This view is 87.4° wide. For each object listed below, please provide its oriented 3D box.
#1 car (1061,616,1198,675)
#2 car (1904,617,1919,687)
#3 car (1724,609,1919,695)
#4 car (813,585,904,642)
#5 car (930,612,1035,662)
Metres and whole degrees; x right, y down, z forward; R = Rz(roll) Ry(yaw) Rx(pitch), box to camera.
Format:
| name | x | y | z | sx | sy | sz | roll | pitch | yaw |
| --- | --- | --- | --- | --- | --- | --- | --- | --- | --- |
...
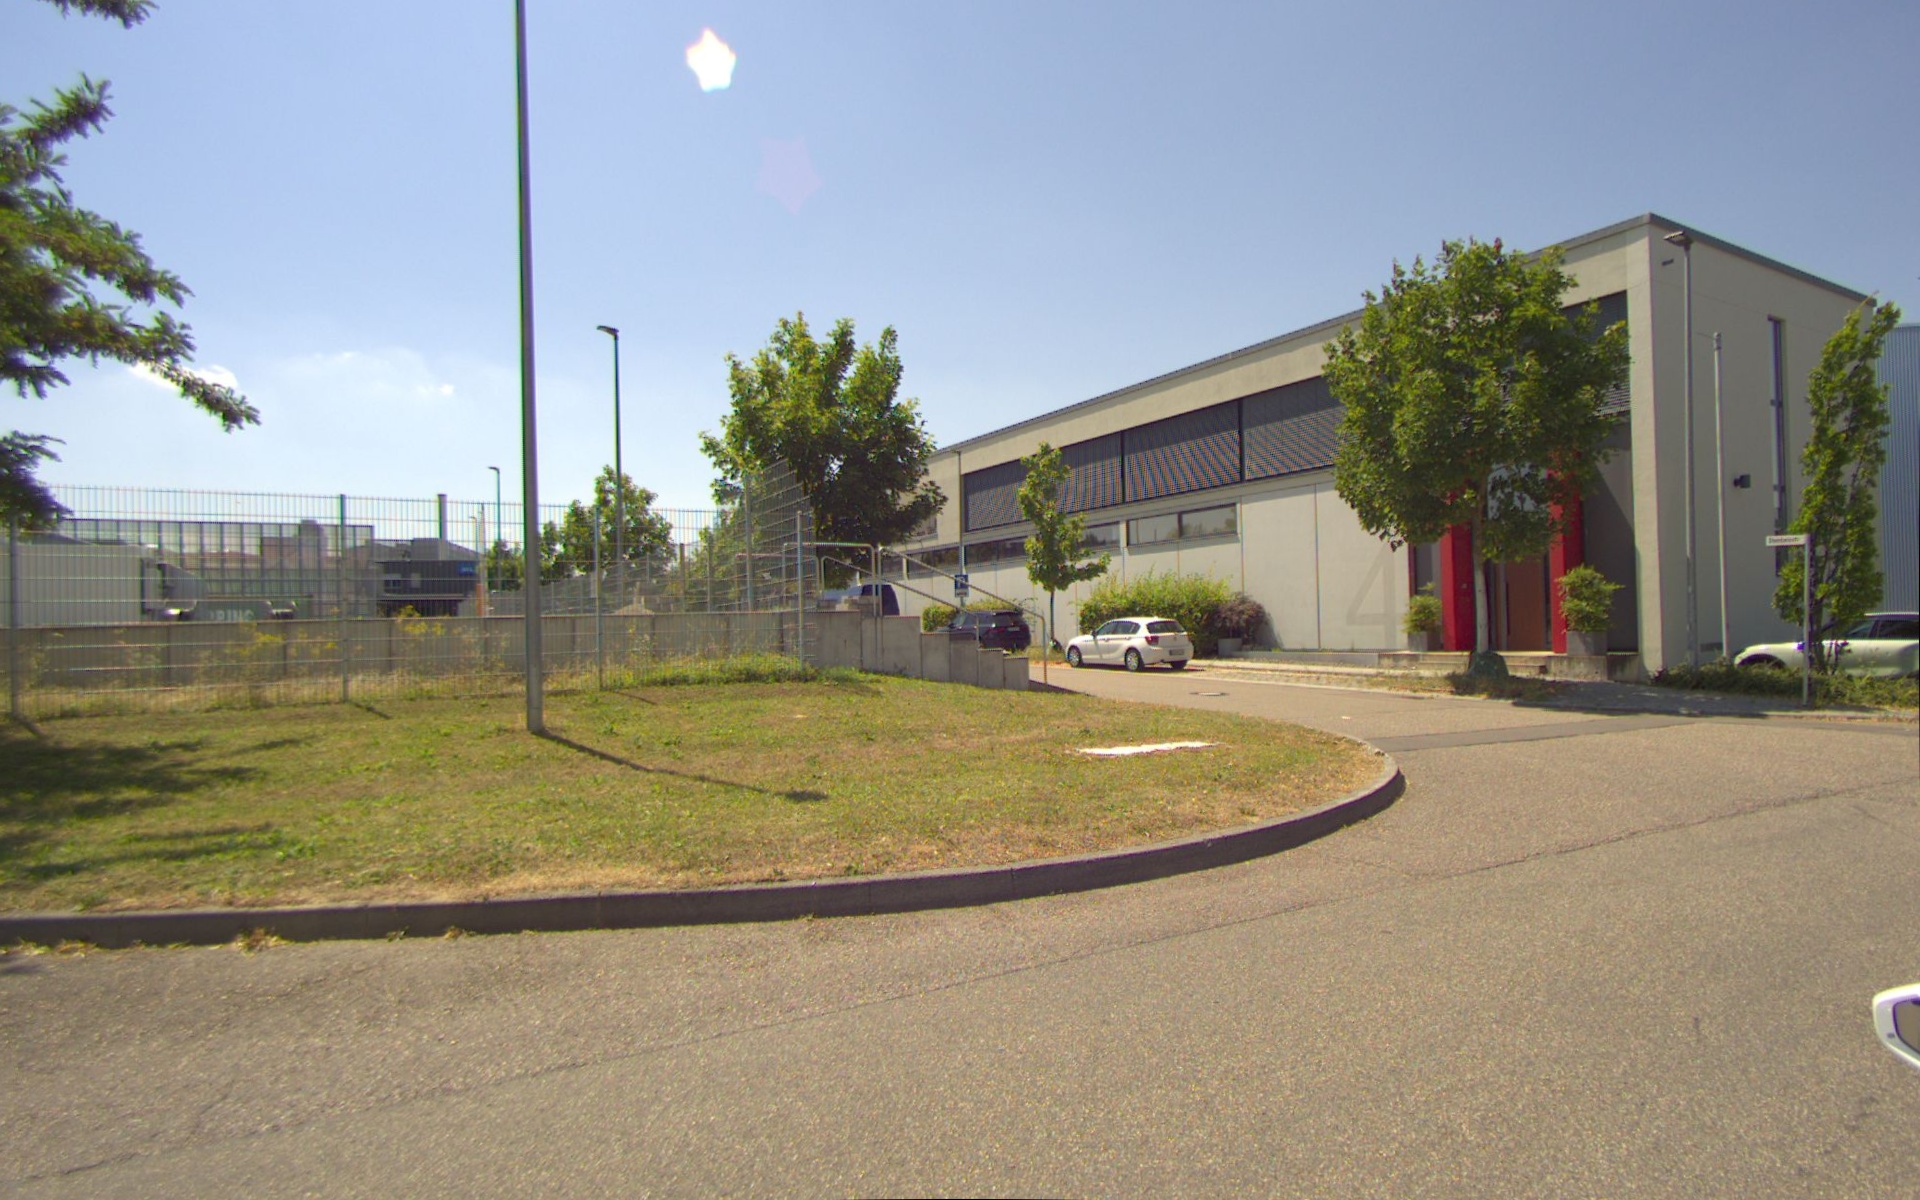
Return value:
| name | x | y | z | sx | sy | sz | roll | pitch | yaw |
| --- | --- | --- | --- | --- | --- | --- | --- | --- | --- |
| car | 4.698 | 1.208 | 28.360 | 1.637 | 1.427 | 3.983 | -3 | 1 | -29 |
| car | 21.619 | 1.116 | 20.668 | 1.281 | 1.498 | 3.036 | 1 | -1 | -37 |
| car | 17.149 | 0.945 | 18.978 | 1.710 | 1.514 | 4.023 | 1 | -1 | -33 |
| car | -4.613 | 0.570 | 44.857 | 2.106 | 2.303 | 5.220 | -3 | 1 | -29 |
| car | 0.728 | 1.253 | 35.680 | 1.790 | 1.558 | 3.965 | -3 | 1 | -32 |
